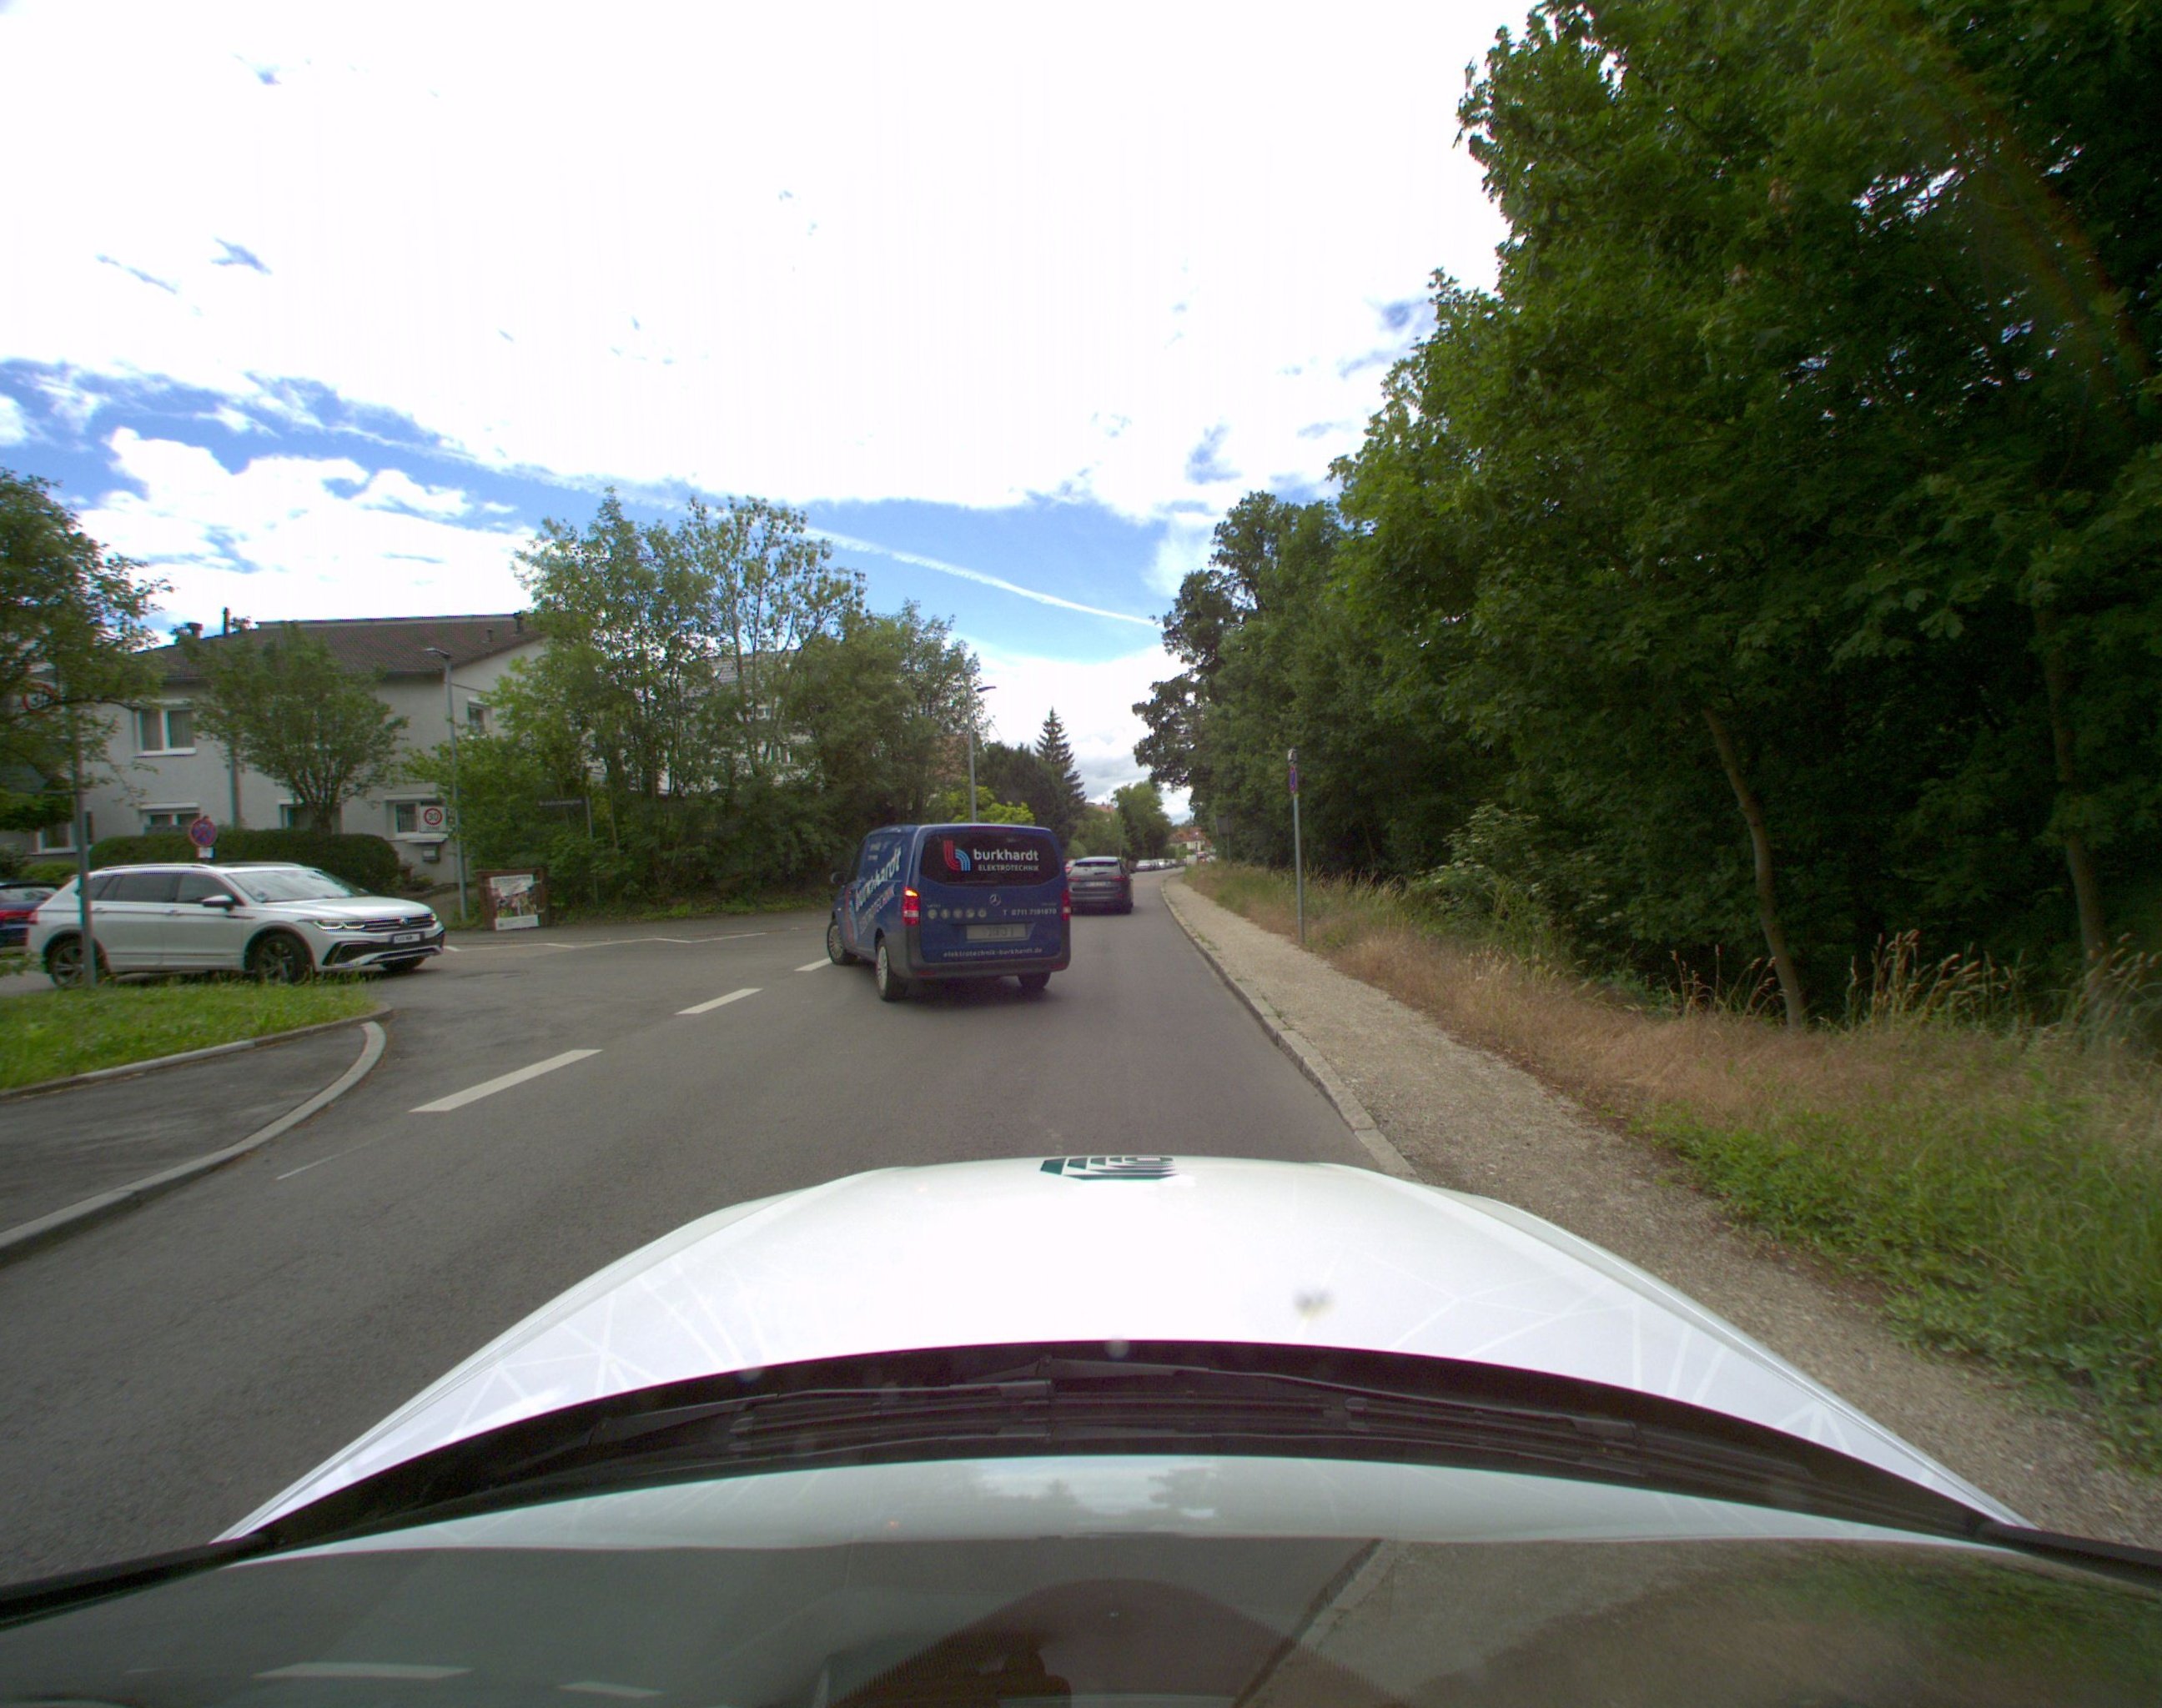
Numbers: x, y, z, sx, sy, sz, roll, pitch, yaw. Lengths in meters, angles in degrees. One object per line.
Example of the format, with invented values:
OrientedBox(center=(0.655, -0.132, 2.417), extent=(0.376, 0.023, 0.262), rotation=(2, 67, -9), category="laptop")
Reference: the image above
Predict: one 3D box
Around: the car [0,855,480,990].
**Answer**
OrientedBox(center=(-11.641, 0.893, 11.433), extent=(4.915, 1.670, 2.039), rotation=(-1, -1, 2), category="car")

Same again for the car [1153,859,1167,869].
OrientedBox(center=(11.498, 1.415, 118.444), extent=(1.738, 1.404, 4.011), rotation=(-1, 0, 10), category="car")

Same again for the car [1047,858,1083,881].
OrientedBox(center=(-0.982, 0.967, 51.338), extent=(1.626, 1.404, 4.009), rotation=(-1, 0, 8), category="car")

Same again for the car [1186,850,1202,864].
OrientedBox(center=(17.248, 0.482, 123.691), extent=(2.192, 2.063, 6.151), rotation=(-1, 0, 9), category="car")

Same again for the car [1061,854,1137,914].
OrientedBox(center=(0.579, 0.740, 21.961), extent=(1.726, 1.447, 4.186), rotation=(-1, 0, 5), category="car")

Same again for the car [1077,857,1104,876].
OrientedBox(center=(0.754, 0.920, 61.875), extent=(1.740, 1.404, 4.006), rotation=(-1, 0, 5), category="car")

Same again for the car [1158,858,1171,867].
OrientedBox(center=(13.198, 1.363, 128.064), extent=(1.738, 1.404, 4.011), rotation=(-1, 0, 10), category="car")

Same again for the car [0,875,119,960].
OrientedBox(center=(-20.275, 1.135, 14.735), extent=(3.533, 1.412, 1.669), rotation=(-1, 0, -4), category="car")

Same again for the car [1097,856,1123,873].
OrientedBox(center=(2.604, 0.930, 72.536), extent=(1.738, 1.404, 4.011), rotation=(-1, 0, 10), category="car")

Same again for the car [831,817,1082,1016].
OrientedBox(center=(-1.810, 0.579, 10.174), extent=(1.945, 1.880, 4.494), rotation=(-1, 0, -24), category="car")

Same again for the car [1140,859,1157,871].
OrientedBox(center=(8.753, 1.407, 105.718), extent=(1.738, 1.404, 4.011), rotation=(-1, 0, 10), category="car")

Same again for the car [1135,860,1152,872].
OrientedBox(center=(7.653, 1.414, 99.588), extent=(1.738, 1.404, 4.011), rotation=(-1, 0, 10), category="car")

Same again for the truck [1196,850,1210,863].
OrientedBox(center=(27.970, 0.470, 186.105), extent=(2.746, 2.794, 9.295), rotation=(-1, 0, 10), category="truck")
